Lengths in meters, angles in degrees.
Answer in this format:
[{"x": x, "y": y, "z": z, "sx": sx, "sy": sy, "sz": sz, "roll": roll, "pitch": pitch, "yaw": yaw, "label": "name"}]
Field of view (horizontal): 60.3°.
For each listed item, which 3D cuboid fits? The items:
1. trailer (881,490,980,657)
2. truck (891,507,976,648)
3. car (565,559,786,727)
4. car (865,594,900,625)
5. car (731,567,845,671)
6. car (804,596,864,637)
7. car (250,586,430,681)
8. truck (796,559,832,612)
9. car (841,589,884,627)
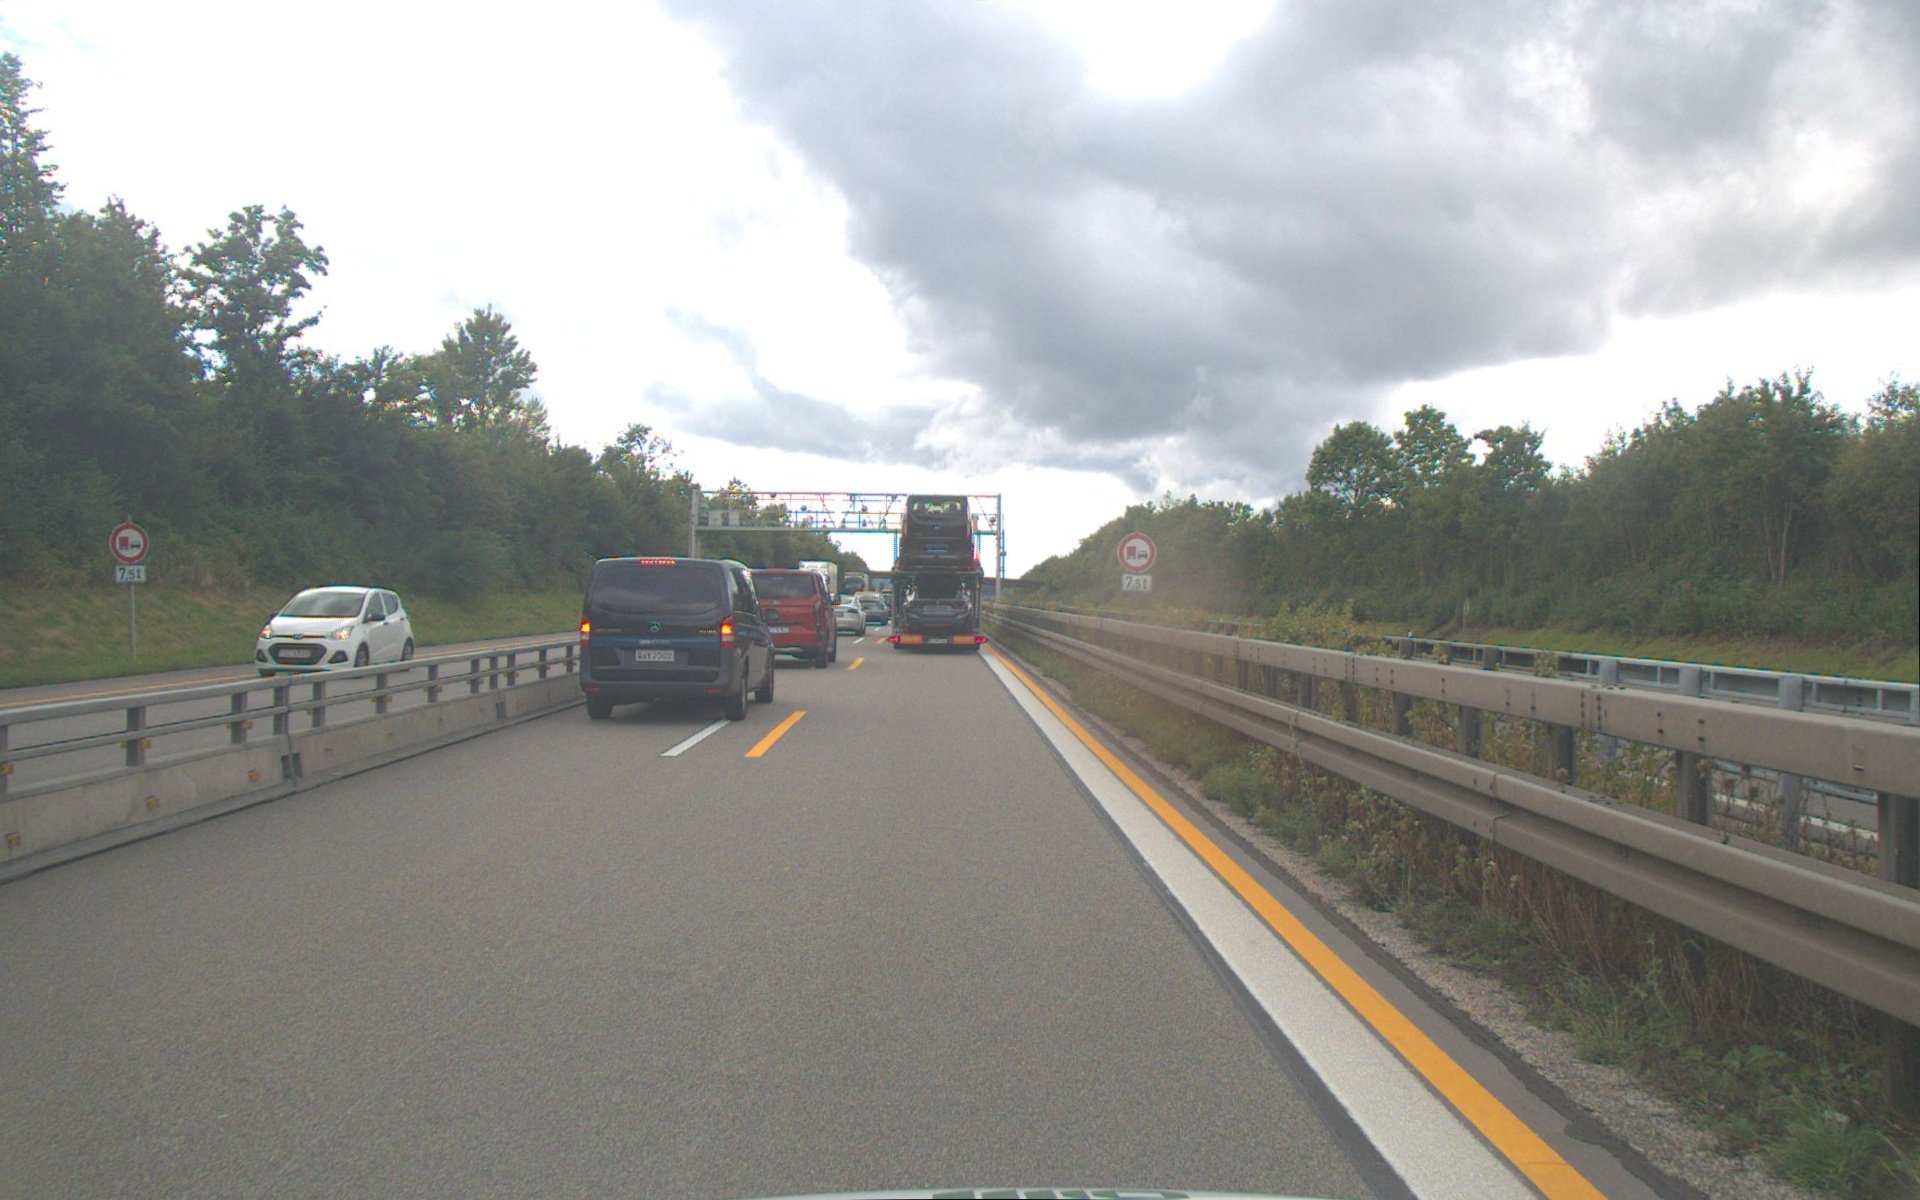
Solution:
[{"x": -0.781, "y": -0.668, "z": 47.320, "sx": 2.464, "sy": 4.177, "sz": 11.112, "roll": 1, "pitch": 0, "yaw": 0, "label": "trailer"}, {"x": -0.810, "y": -0.665, "z": 52.050, "sx": 2.464, "sy": 4.177, "sz": 5.684, "roll": 1, "pitch": 0, "yaw": 0, "label": "truck"}, {"x": -3.473, "y": 0.482, "z": 21.287, "sx": 1.953, "sy": 1.875, "sz": 5.608, "roll": 0, "pitch": 0, "yaw": -1, "label": "car"}, {"x": -4.571, "y": 0.572, "z": 97.968, "sx": 1.990, "sy": 1.788, "sz": 4.576, "roll": 0, "pitch": 0, "yaw": -2, "label": "car"}, {"x": -3.554, "y": 0.377, "z": 34.889, "sx": 1.990, "sy": 2.049, "sz": 4.577, "roll": 0, "pitch": 0, "yaw": -1, "label": "car"}, {"x": -4.600, "y": 0.576, "z": 61.022, "sx": 1.990, "sy": 1.456, "sz": 4.576, "roll": 0, "pitch": 0, "yaw": -2, "label": "car"}, {"x": -10.565, "y": 0.535, "z": 28.467, "sx": 1.661, "sy": 1.479, "sz": 3.958, "roll": 2, "pitch": 0, "yaw": -2, "label": "car"}, {"x": -12.110, "y": -1.199, "z": 137.730, "sx": 2.546, "sy": 4.227, "sz": 5.619, "roll": 1, "pitch": 0, "yaw": -1, "label": "truck"}, {"x": -4.784, "y": 0.387, "z": 81.734, "sx": 1.990, "sy": 1.788, "sz": 4.576, "roll": 0, "pitch": 0, "yaw": -2, "label": "car"}]
